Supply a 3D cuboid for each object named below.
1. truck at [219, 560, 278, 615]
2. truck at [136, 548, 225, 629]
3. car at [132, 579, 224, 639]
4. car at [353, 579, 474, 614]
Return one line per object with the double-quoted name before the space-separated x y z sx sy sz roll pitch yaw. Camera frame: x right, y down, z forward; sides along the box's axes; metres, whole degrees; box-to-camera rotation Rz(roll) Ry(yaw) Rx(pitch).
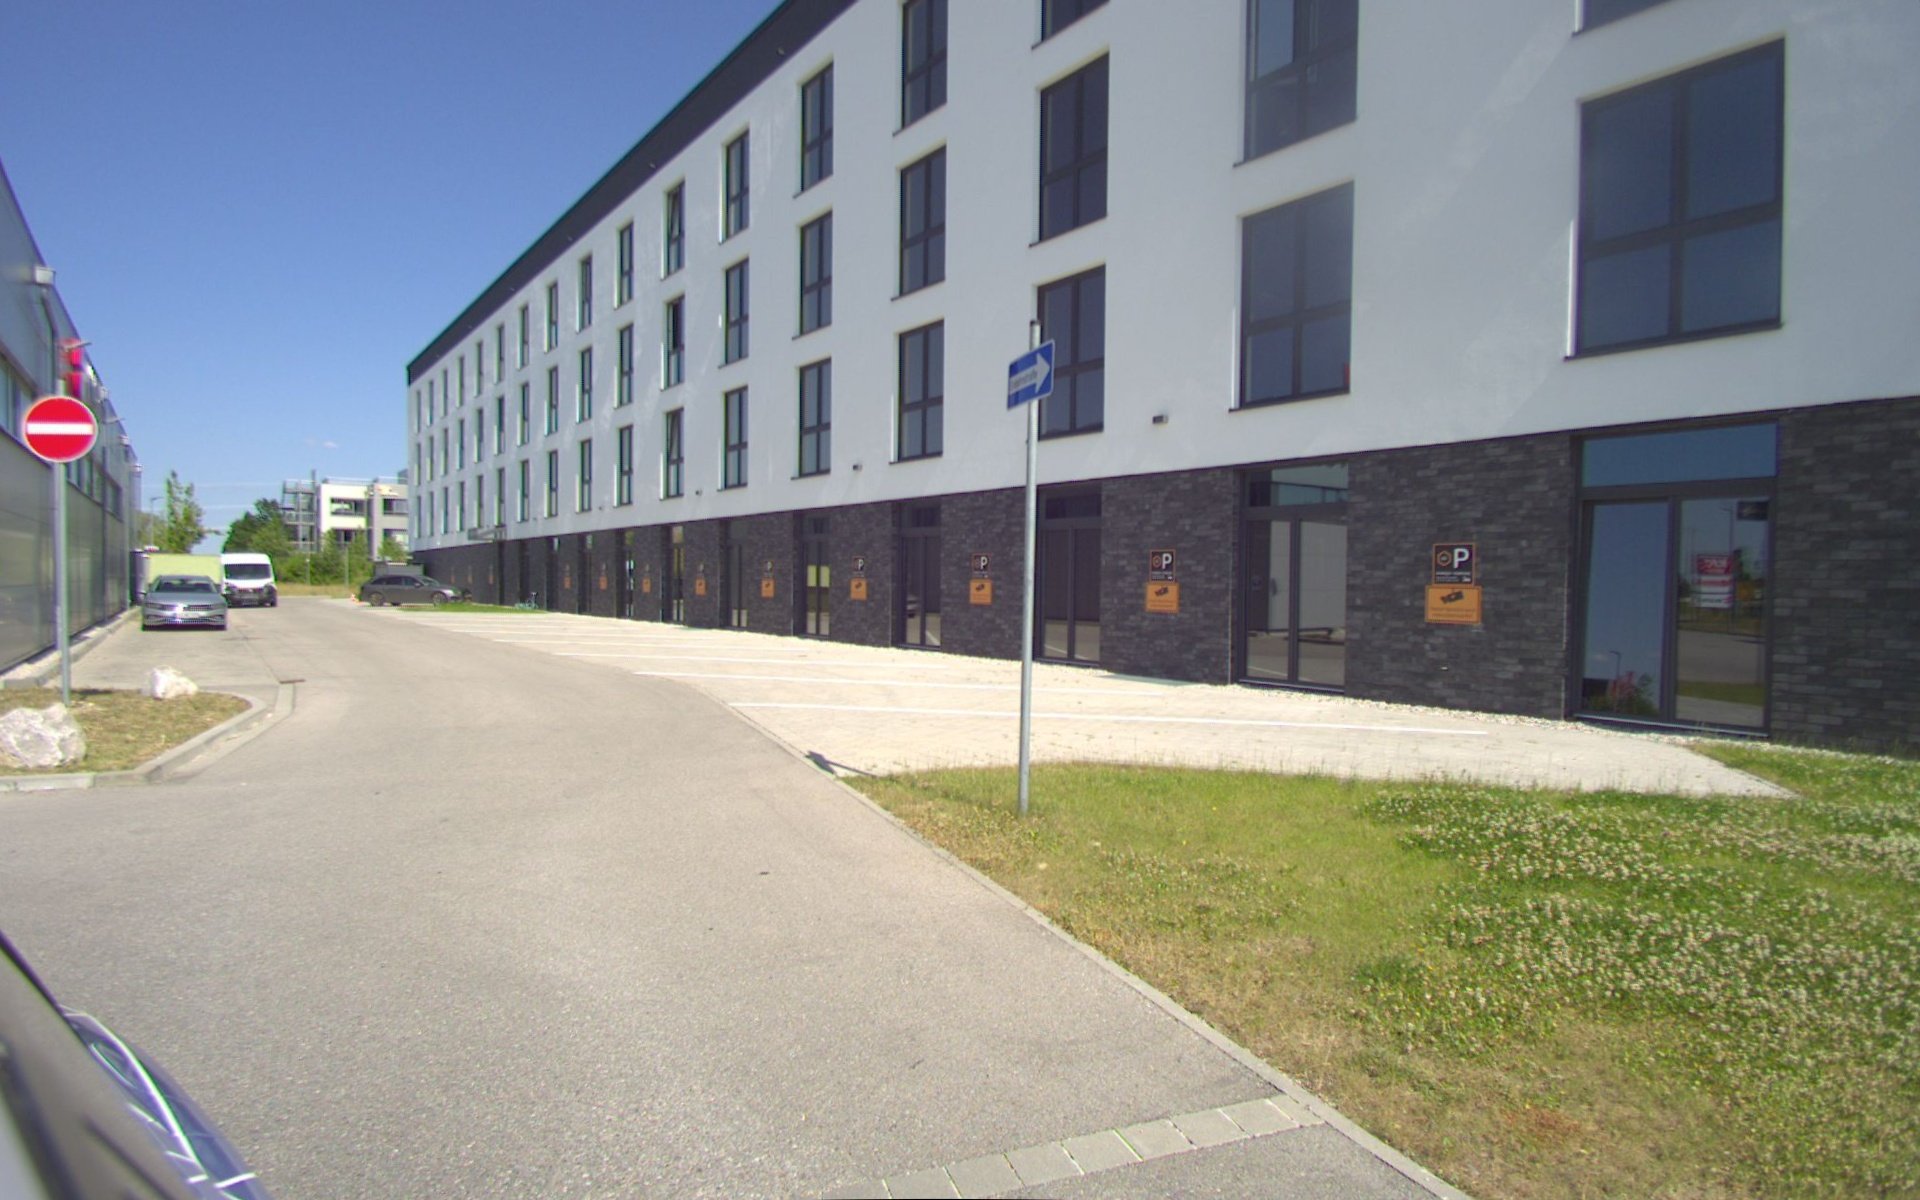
"truck" -32.868 -0.576 46.692 1.968 2.394 5.903 -1 1 -38
"truck" -25.300 -0.375 32.890 2.089 2.394 5.903 -1 1 -38
"car" -21.308 0.188 27.528 1.850 1.519 4.007 -1 1 -40
"car" -24.600 -0.165 45.651 4.460 1.519 1.880 0 1 -1
